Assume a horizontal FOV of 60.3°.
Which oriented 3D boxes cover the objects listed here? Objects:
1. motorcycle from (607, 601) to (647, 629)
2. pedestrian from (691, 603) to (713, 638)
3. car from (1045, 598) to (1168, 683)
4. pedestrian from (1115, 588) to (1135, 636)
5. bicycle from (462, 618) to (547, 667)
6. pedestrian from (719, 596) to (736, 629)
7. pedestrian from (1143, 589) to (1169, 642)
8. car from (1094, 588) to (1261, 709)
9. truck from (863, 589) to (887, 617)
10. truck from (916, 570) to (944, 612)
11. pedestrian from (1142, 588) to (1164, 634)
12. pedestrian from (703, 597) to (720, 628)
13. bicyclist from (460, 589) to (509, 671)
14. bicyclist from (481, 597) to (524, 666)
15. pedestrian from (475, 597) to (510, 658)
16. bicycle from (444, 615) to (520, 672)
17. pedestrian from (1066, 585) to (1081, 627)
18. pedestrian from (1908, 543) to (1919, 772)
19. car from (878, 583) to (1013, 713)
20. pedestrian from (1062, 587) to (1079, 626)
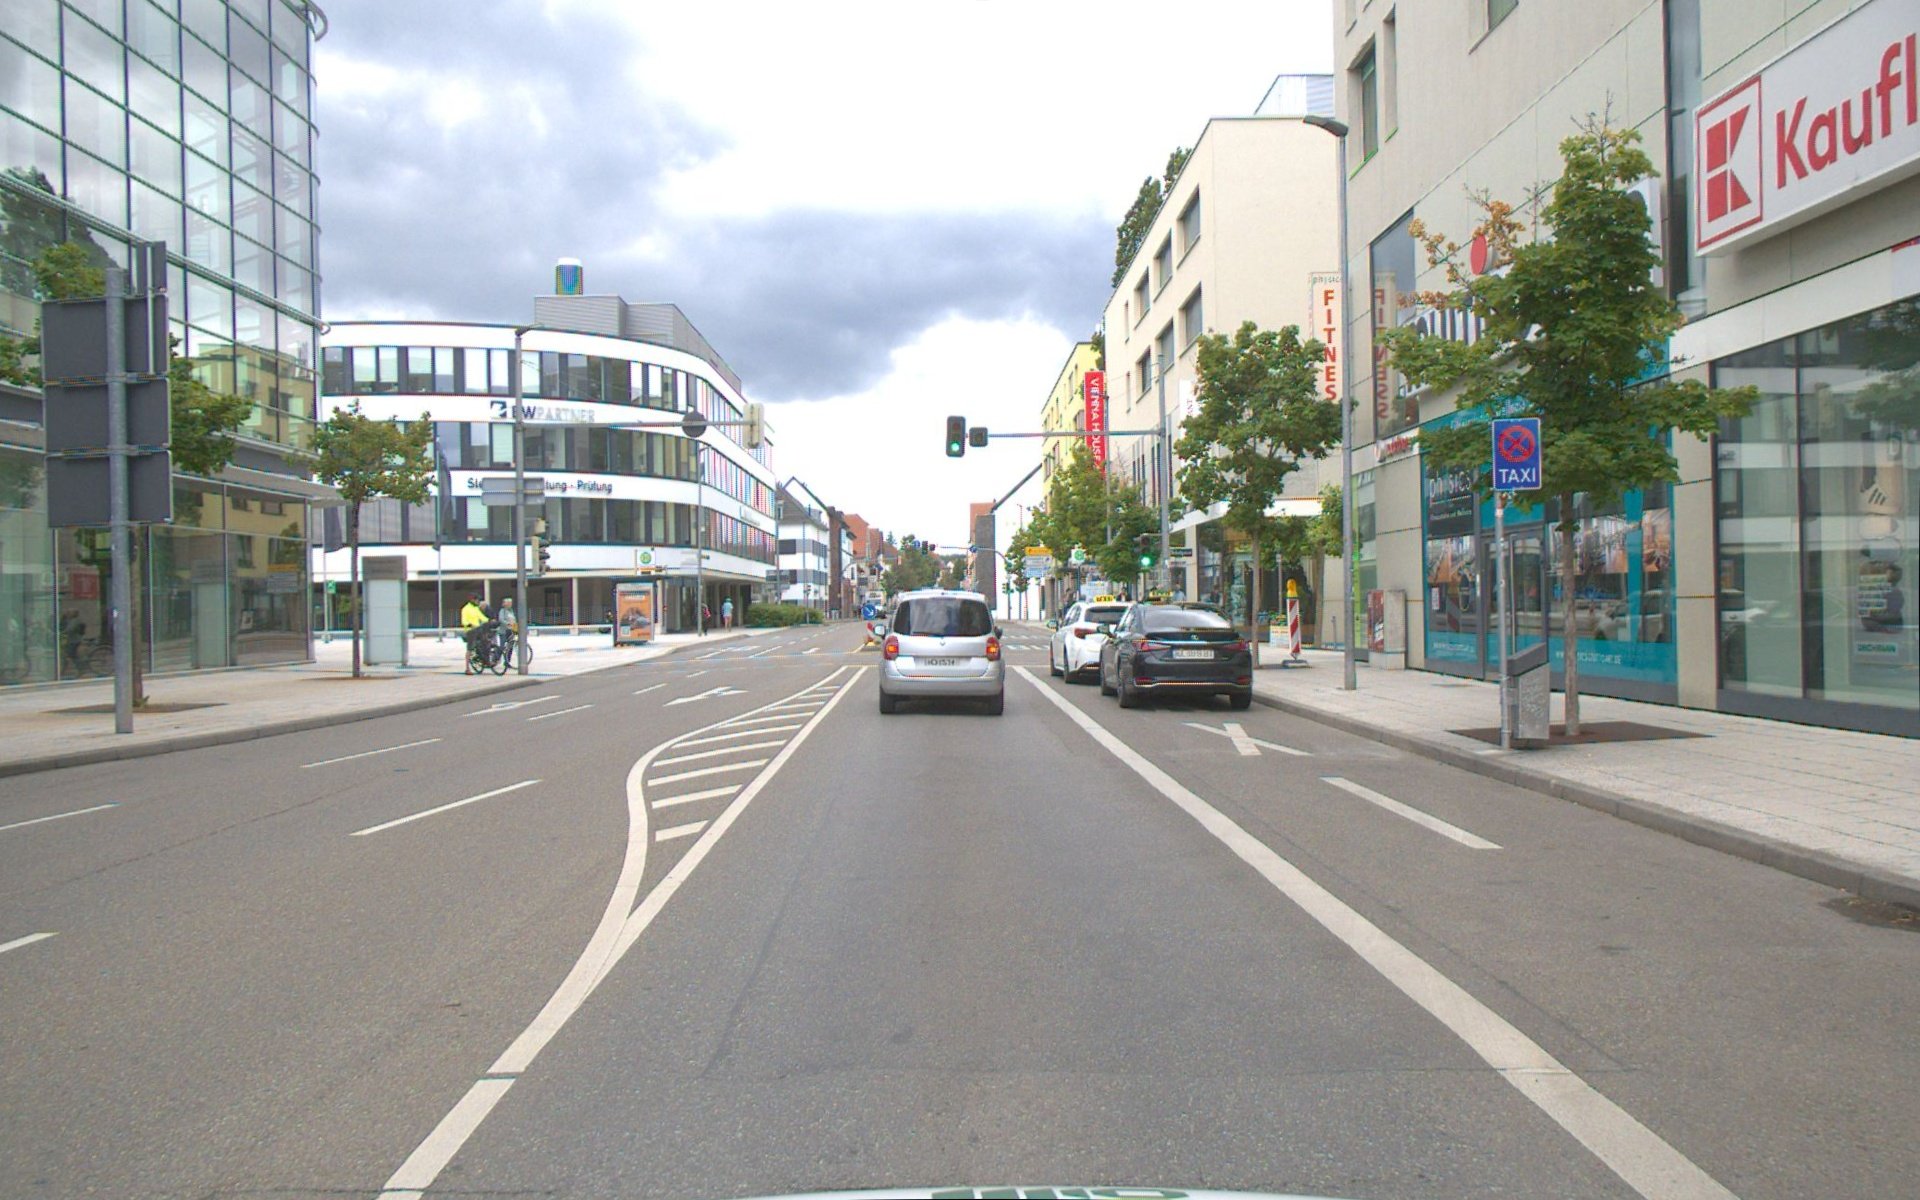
[{"bbox_3d":[-16.347,0.734,81.137,1.816,1.356,0.636,1,-1,3],"label":"motorcycle"},{"bbox_3d":[-11.823,0.934,75.869,0.812,1.594,0.813,0,0,4],"label":"pedestrian"},{"bbox_3d":[2.626,0.706,30.601,1.747,1.450,4.513,0,0,-2],"label":"car"},{"bbox_3d":[6.029,0.435,60.340,0.641,1.698,0.614,-1,0,-1],"label":"pedestrian"},{"bbox_3d":[-11.258,1.049,40.898,1.957,1.150,0.639,1,0,14],"label":"bicycle"},{"bbox_3d":[-12.041,0.642,85.489,0.715,1.703,0.931,0,0,1],"label":"pedestrian"},{"bbox_3d":[6.143,0.483,51.872,0.725,1.636,0.714,-1,0,-1],"label":"pedestrian"},{"bbox_3d":[3.062,0.645,24.183,1.701,1.569,4.789,1,0,-1],"label":"car"},{"bbox_3d":[-9.355,0.330,182.696,2.386,3.005,8.362,-1,0,-1],"label":"truck"},{"bbox_3d":[-2.785,-0.833,156.594,2.542,3.925,6.847,0,0,0],"label":"truck"},{"bbox_3d":[7.091,0.402,60.771,0.729,1.698,0.614,-1,0,-1],"label":"pedestrian"},{"bbox_3d":[-12.992,0.651,86.568,0.715,1.641,0.931,0,0,1],"label":"pedestrian"},{"bbox_3d":[-10.882,0.675,37.860,0.761,1.831,0.743,1,0,43],"label":"bicyclist"},{"bbox_3d":[-11.310,0.768,40.923,0.765,1.678,0.639,1,0,14],"label":"bicyclist"},{"bbox_3d":[-15.402,0.906,54.502,0.894,1.979,0.739,1,-1,-40],"label":"pedestrian"},{"bbox_3d":[-10.976,0.992,37.945,1.996,1.227,0.743,1,0,44],"label":"bicycle"},{"bbox_3d":[4.940,0.272,71.826,0.567,1.800,0.857,-2,-1,4],"label":"pedestrian"},{"bbox_3d":[6.970,0.391,11.228,0.576,1.594,0.732,-2,0,-1],"label":"pedestrian"},{"bbox_3d":[-0.217,0.608,22.748,1.672,1.606,3.999,1,0,-1],"label":"car"},{"bbox_3d":[4.892,0.290,73.147,0.705,1.713,0.733,-2,-1,4],"label":"pedestrian"}]
